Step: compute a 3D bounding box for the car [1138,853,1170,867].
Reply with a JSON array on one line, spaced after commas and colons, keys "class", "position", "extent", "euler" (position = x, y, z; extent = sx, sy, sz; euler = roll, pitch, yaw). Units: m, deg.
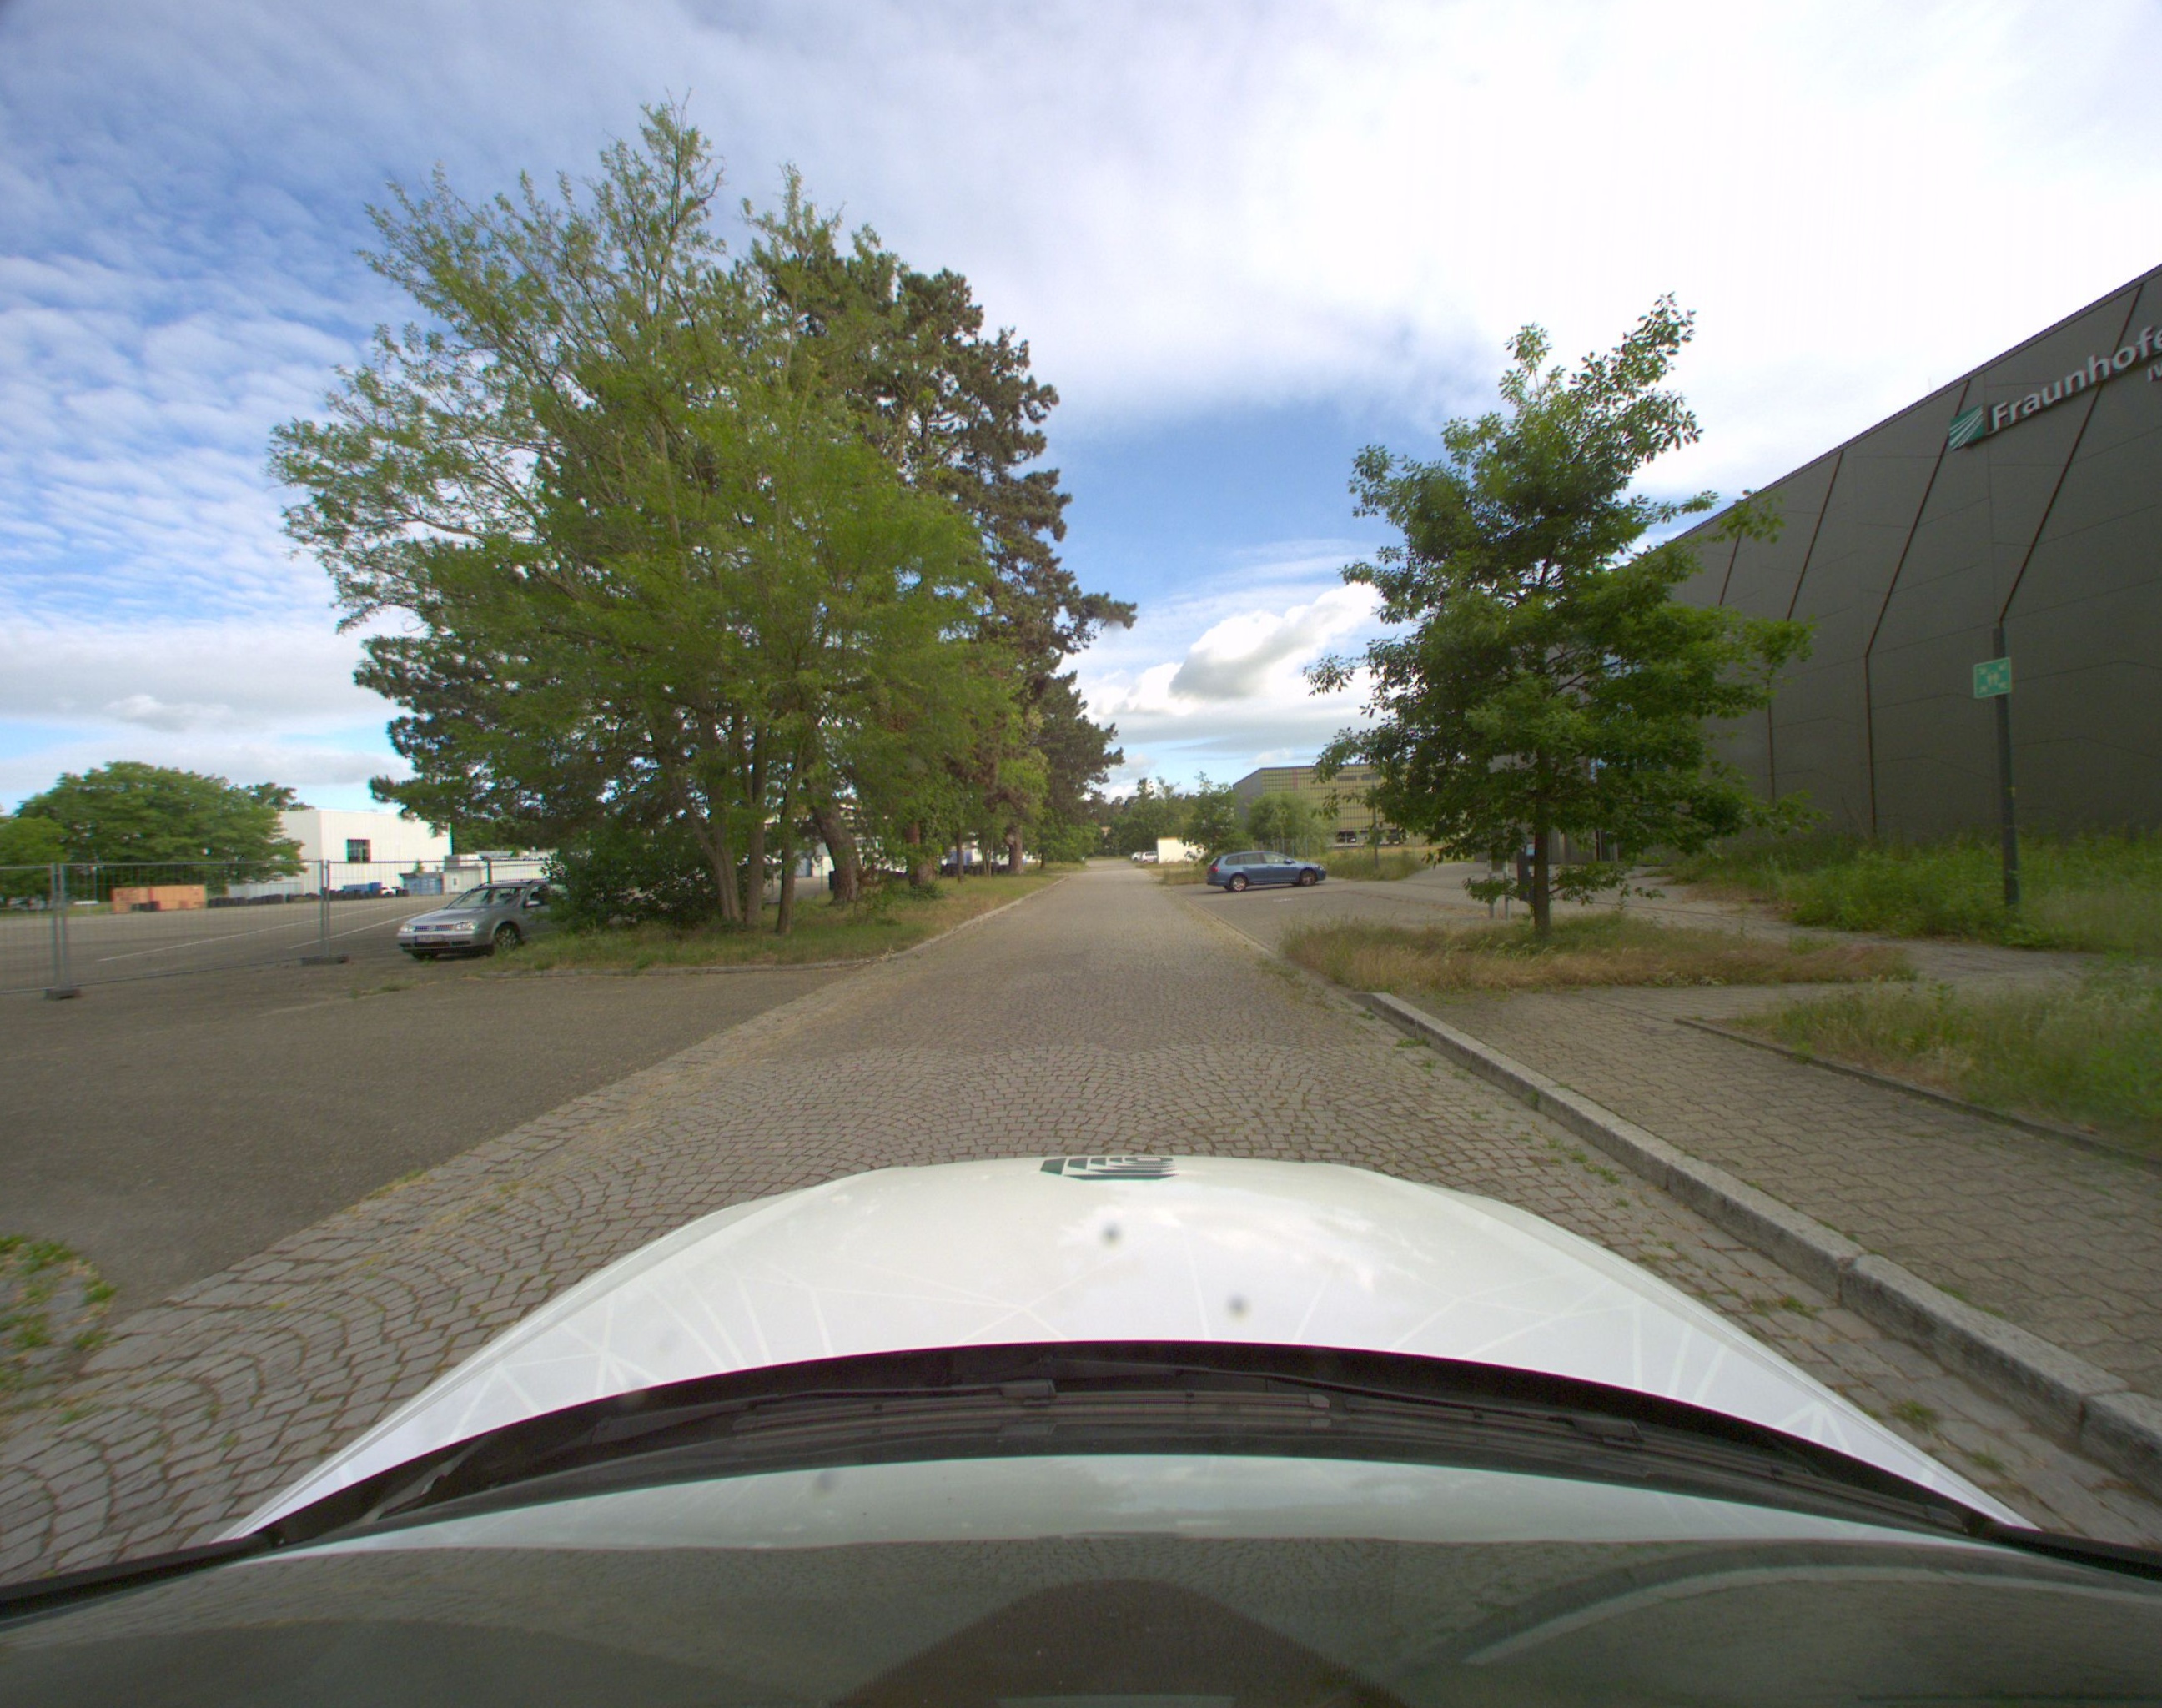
[{"class": "car", "position": [9.380, 0.750, 104.753], "extent": [3.838, 1.654, 1.685], "euler": [-3, 0, -1]}]

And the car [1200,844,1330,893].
[{"class": "car", "position": [6.983, 0.547, 31.230], "extent": [4.510, 1.443, 1.822], "euler": [-5, 0, -2]}]

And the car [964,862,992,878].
[{"class": "car", "position": [-10.148, 1.564, 80.470], "extent": [1.757, 1.453, 3.496], "euler": [-3, 0, 8]}]

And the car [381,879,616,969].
[{"class": "car", "position": [-11.993, 1.358, 17.219], "extent": [1.710, 1.438, 4.466], "euler": [-3, 0, 0]}]

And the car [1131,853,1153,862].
[{"class": "car", "position": [11.364, 0.657, 150.891], "extent": [4.009, 1.502, 1.549], "euler": [-3, 0, 2]}]

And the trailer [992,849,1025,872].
[{"class": "trailer", "position": [-10.402, 0.921, 117.964], "extent": [3.144, 3.067, 8.794], "euler": [-3, 0, 4]}]
